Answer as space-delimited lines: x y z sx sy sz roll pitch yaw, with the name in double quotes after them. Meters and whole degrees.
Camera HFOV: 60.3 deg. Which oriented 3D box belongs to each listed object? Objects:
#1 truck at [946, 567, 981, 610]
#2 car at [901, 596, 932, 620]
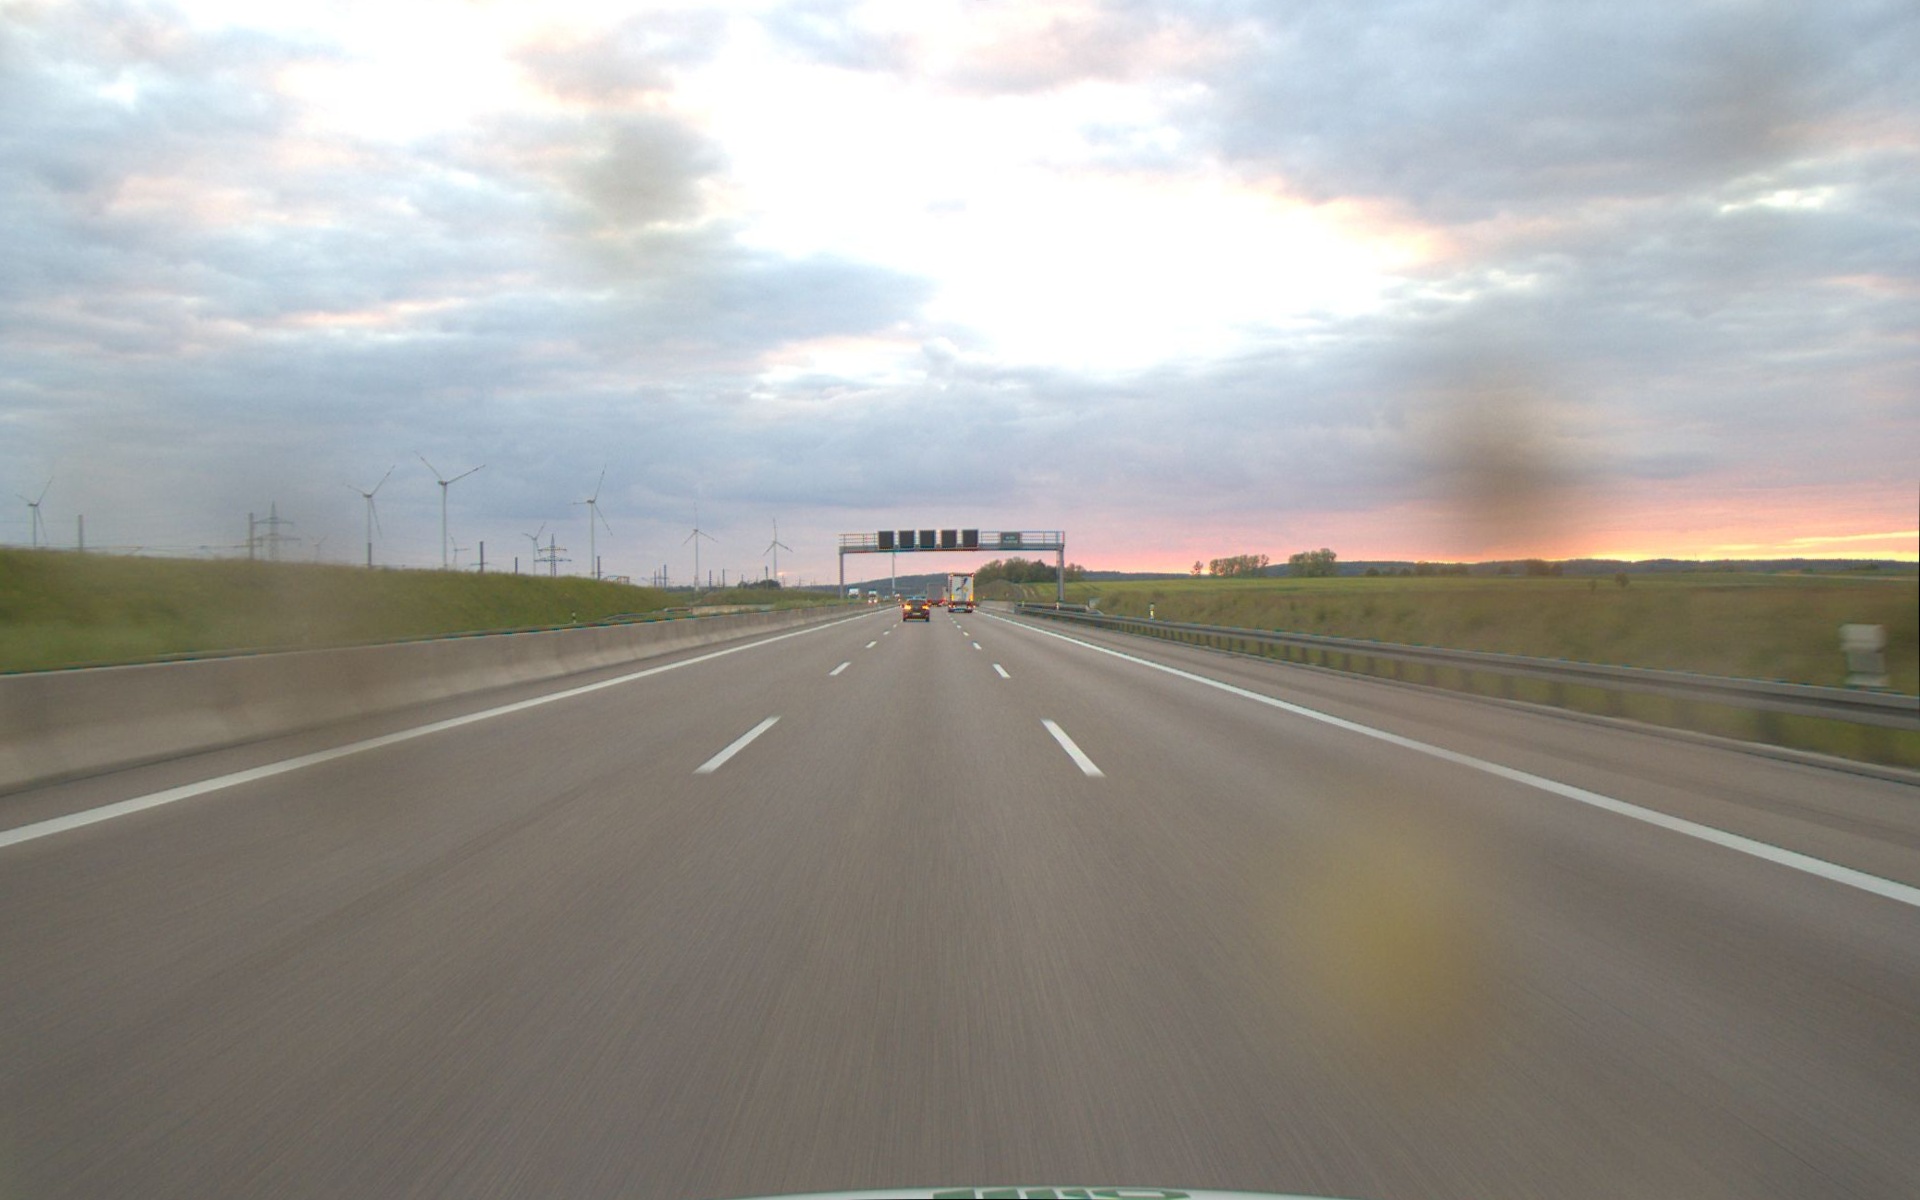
0.334 -1.222 182.599 3.600 4.644 10.979 0 0 -1 "truck"
-2.771 0.485 106.904 1.947 1.454 3.999 -1 0 -1 "car"
